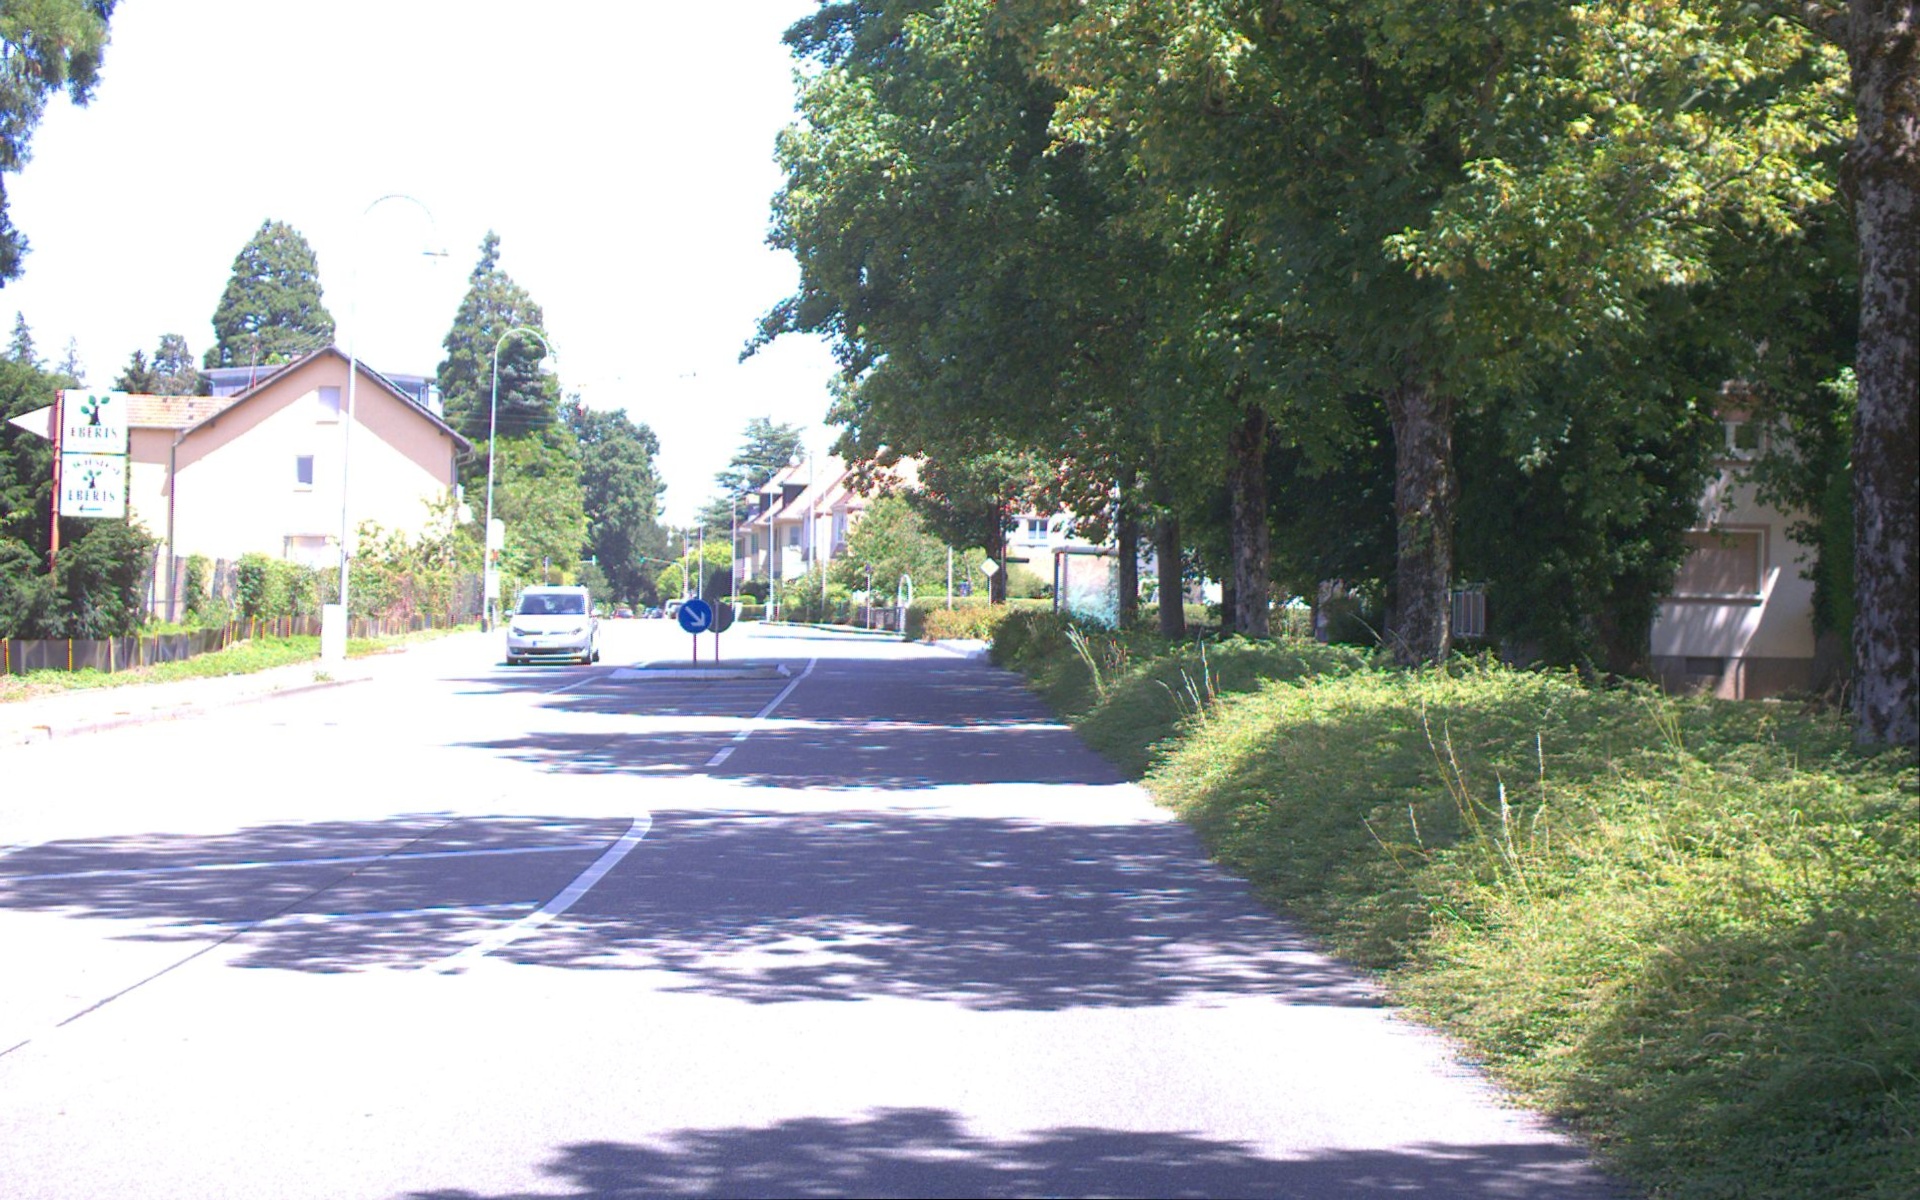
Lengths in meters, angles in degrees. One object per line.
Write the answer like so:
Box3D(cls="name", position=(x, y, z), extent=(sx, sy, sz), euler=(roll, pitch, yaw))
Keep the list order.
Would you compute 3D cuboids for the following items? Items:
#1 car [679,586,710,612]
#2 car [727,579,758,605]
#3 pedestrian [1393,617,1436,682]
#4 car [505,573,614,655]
Box3D(cls="car", position=(-17.867, -0.091, 231.496), extent=(1.815, 1.712, 4.000), euler=(1, 0, 0))
Box3D(cls="car", position=(-14.622, -0.560, 231.497), extent=(1.815, 1.712, 4.000), euler=(1, 0, 0))
Box3D(cls="pedestrian", position=(8.209, 0.892, 62.135), extent=(0.704, 1.156, 0.754), euler=(1, 0, 3))
Box3D(cls="car", position=(-8.433, 0.283, 72.639), extent=(1.912, 1.683, 4.125), euler=(0, 0, -1))
